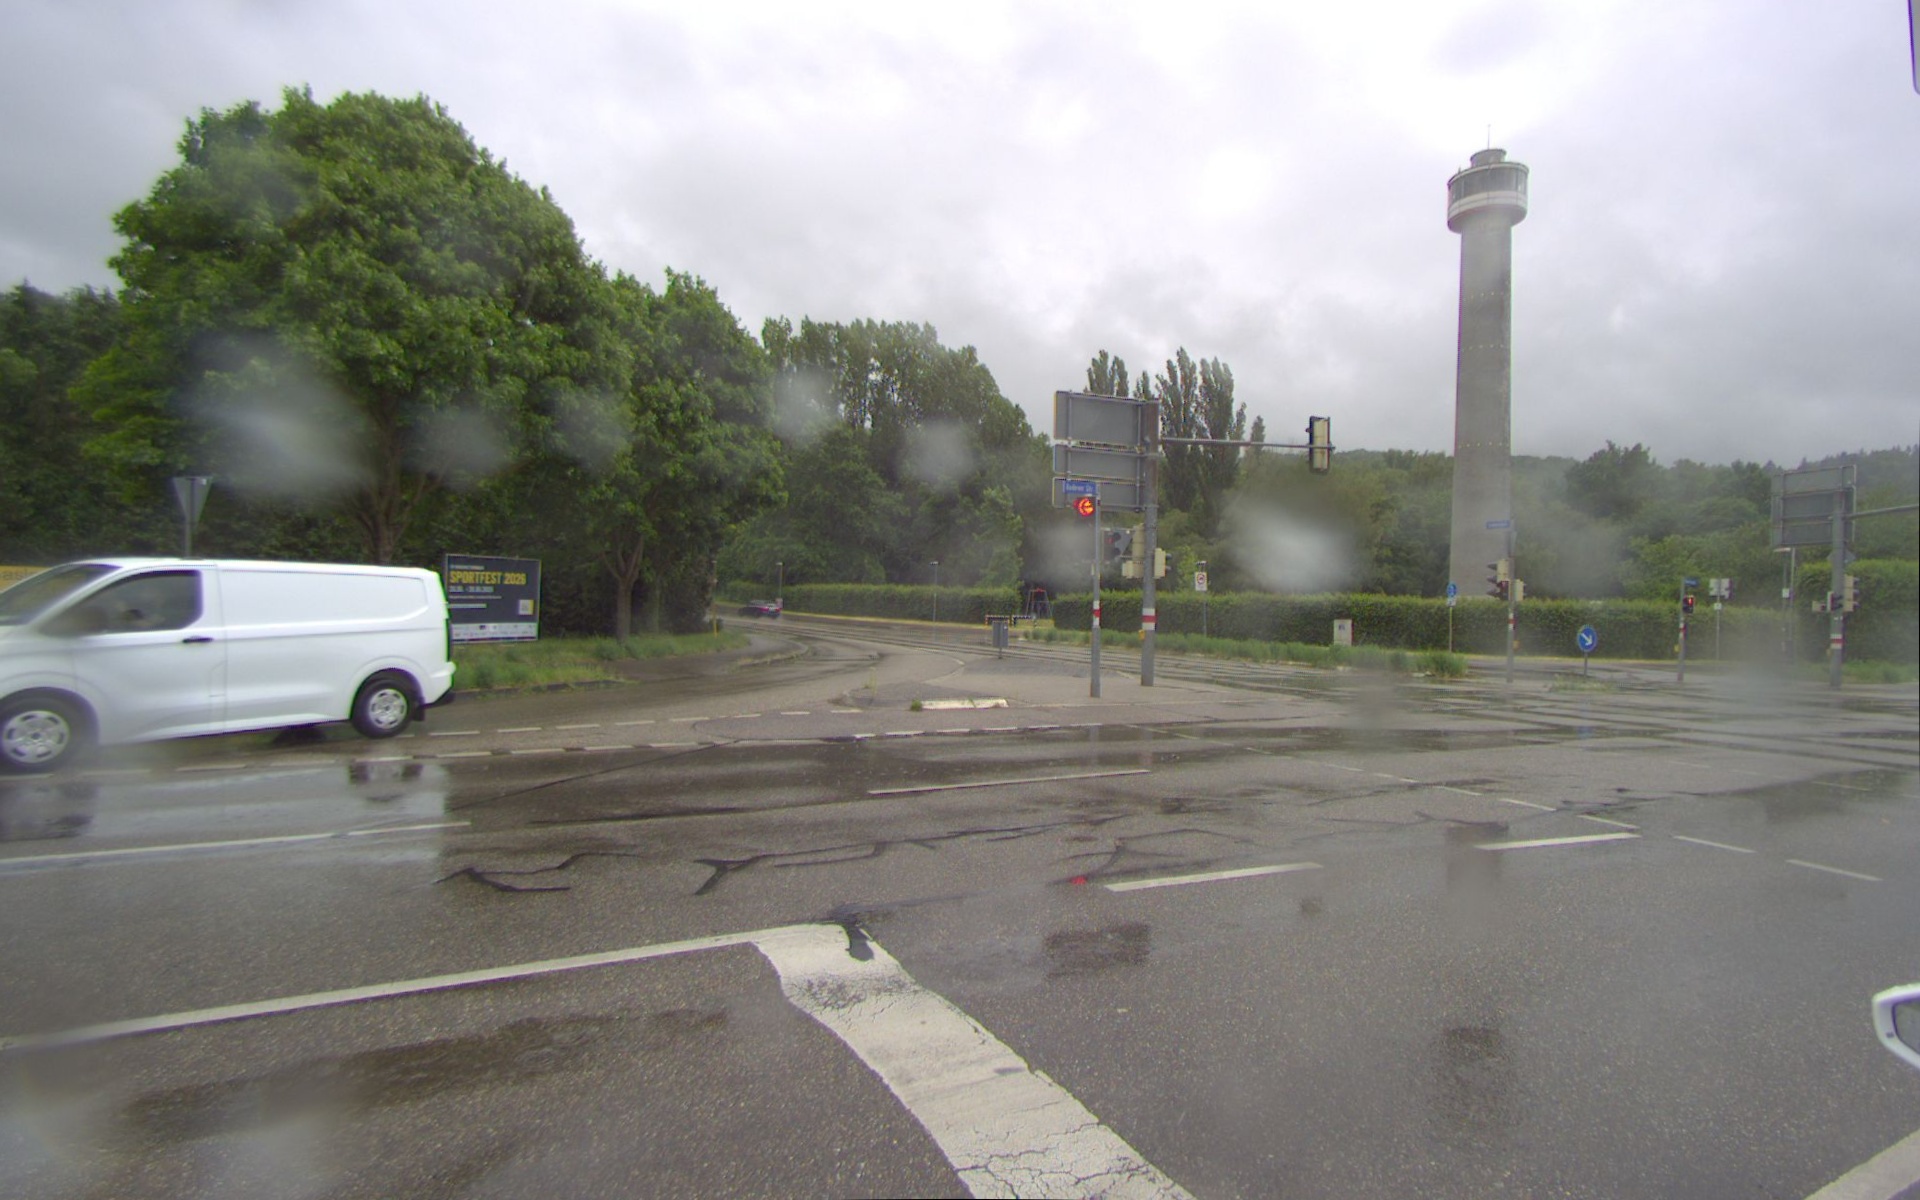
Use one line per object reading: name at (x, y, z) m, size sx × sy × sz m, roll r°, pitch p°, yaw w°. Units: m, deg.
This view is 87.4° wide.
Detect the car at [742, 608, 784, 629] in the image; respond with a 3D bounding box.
car at (-15.787, 1.477, 80.319) m, size 1.744 × 1.606 × 4.079 m, roll 1°, pitch -1°, yaw -35°

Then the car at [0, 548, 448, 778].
car at (-8.143, 0.552, 10.388) m, size 2.074 × 1.917 × 4.785 m, roll 0°, pitch -1°, yaw 27°
